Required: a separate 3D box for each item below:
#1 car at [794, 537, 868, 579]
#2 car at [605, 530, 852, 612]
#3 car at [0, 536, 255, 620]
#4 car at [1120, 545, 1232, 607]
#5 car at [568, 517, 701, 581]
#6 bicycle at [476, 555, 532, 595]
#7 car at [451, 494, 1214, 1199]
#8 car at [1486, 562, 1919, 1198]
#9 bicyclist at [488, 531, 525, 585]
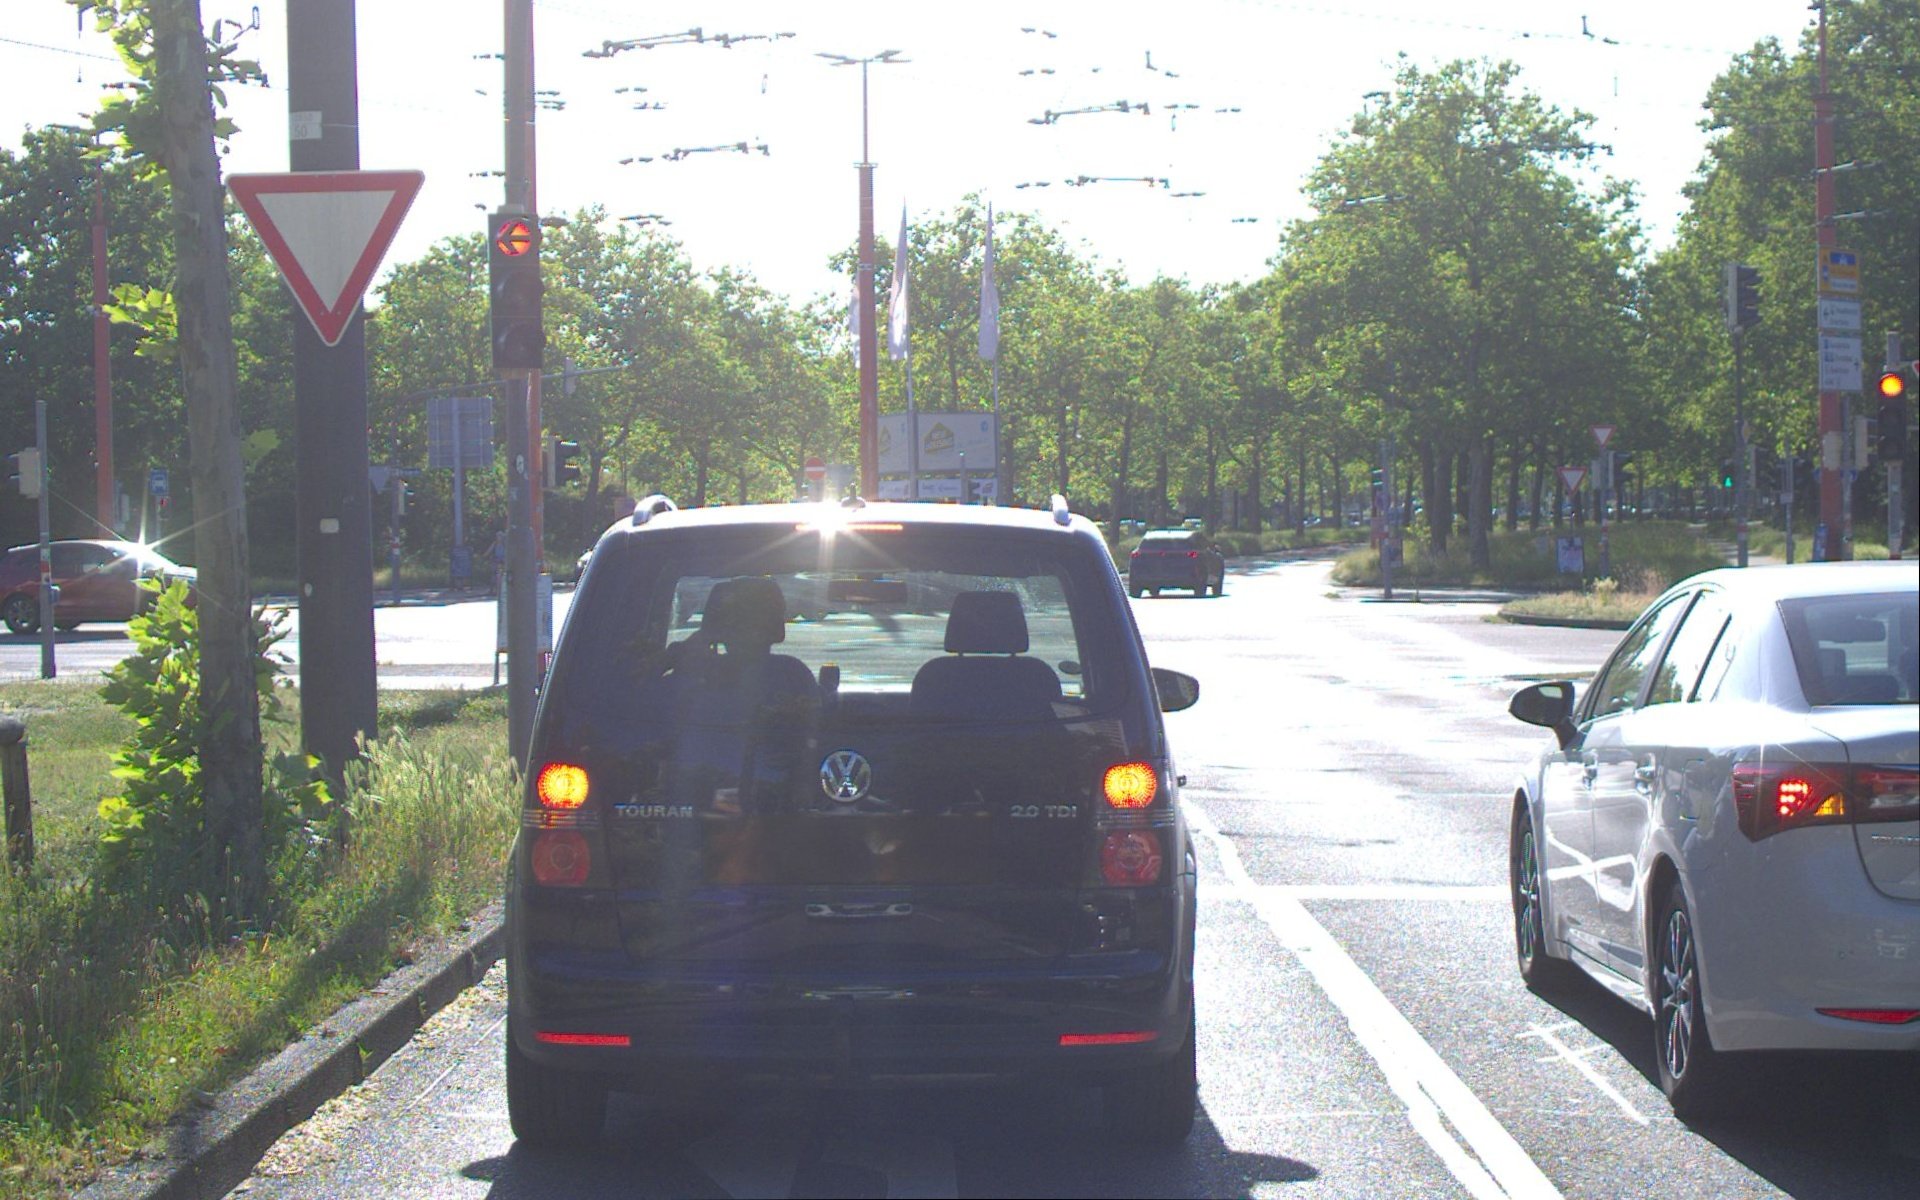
[{"bbox_3d":[-5.326,-1.763,142.976,1.994,1.679,4.826,0,1,11],"label":"car"},{"bbox_3d":[-4.293,-0.558,63.619,4.208,1.459,1.915,-1,1,-18],"label":"car"},{"bbox_3d":[-15.121,-0.403,61.905,4.361,1.459,1.913,0,1,10],"label":"car"},{"bbox_3d":[5.291,-0.600,83.683,1.909,1.459,4.220,0,1,15],"label":"car"},{"bbox_3d":[-8.820,-1.394,93.521,1.995,1.679,4.825,0,1,15],"label":"car"},{"bbox_3d":[-12.513,-0.687,94.418,0.735,1.086,1.959,0,1,18],"label":"bicycle"},{"bbox_3d":[-0.312,0.547,9.877,1.737,1.635,4.000,0,1,-1],"label":"car"},{"bbox_3d":[2.692,0.631,10.078,1.715,1.449,4.144,0,1,1],"label":"car"},{"bbox_3d":[-12.482,-1.156,94.630,0.693,1.452,0.874,0,1,18],"label":"bicyclist"}]
